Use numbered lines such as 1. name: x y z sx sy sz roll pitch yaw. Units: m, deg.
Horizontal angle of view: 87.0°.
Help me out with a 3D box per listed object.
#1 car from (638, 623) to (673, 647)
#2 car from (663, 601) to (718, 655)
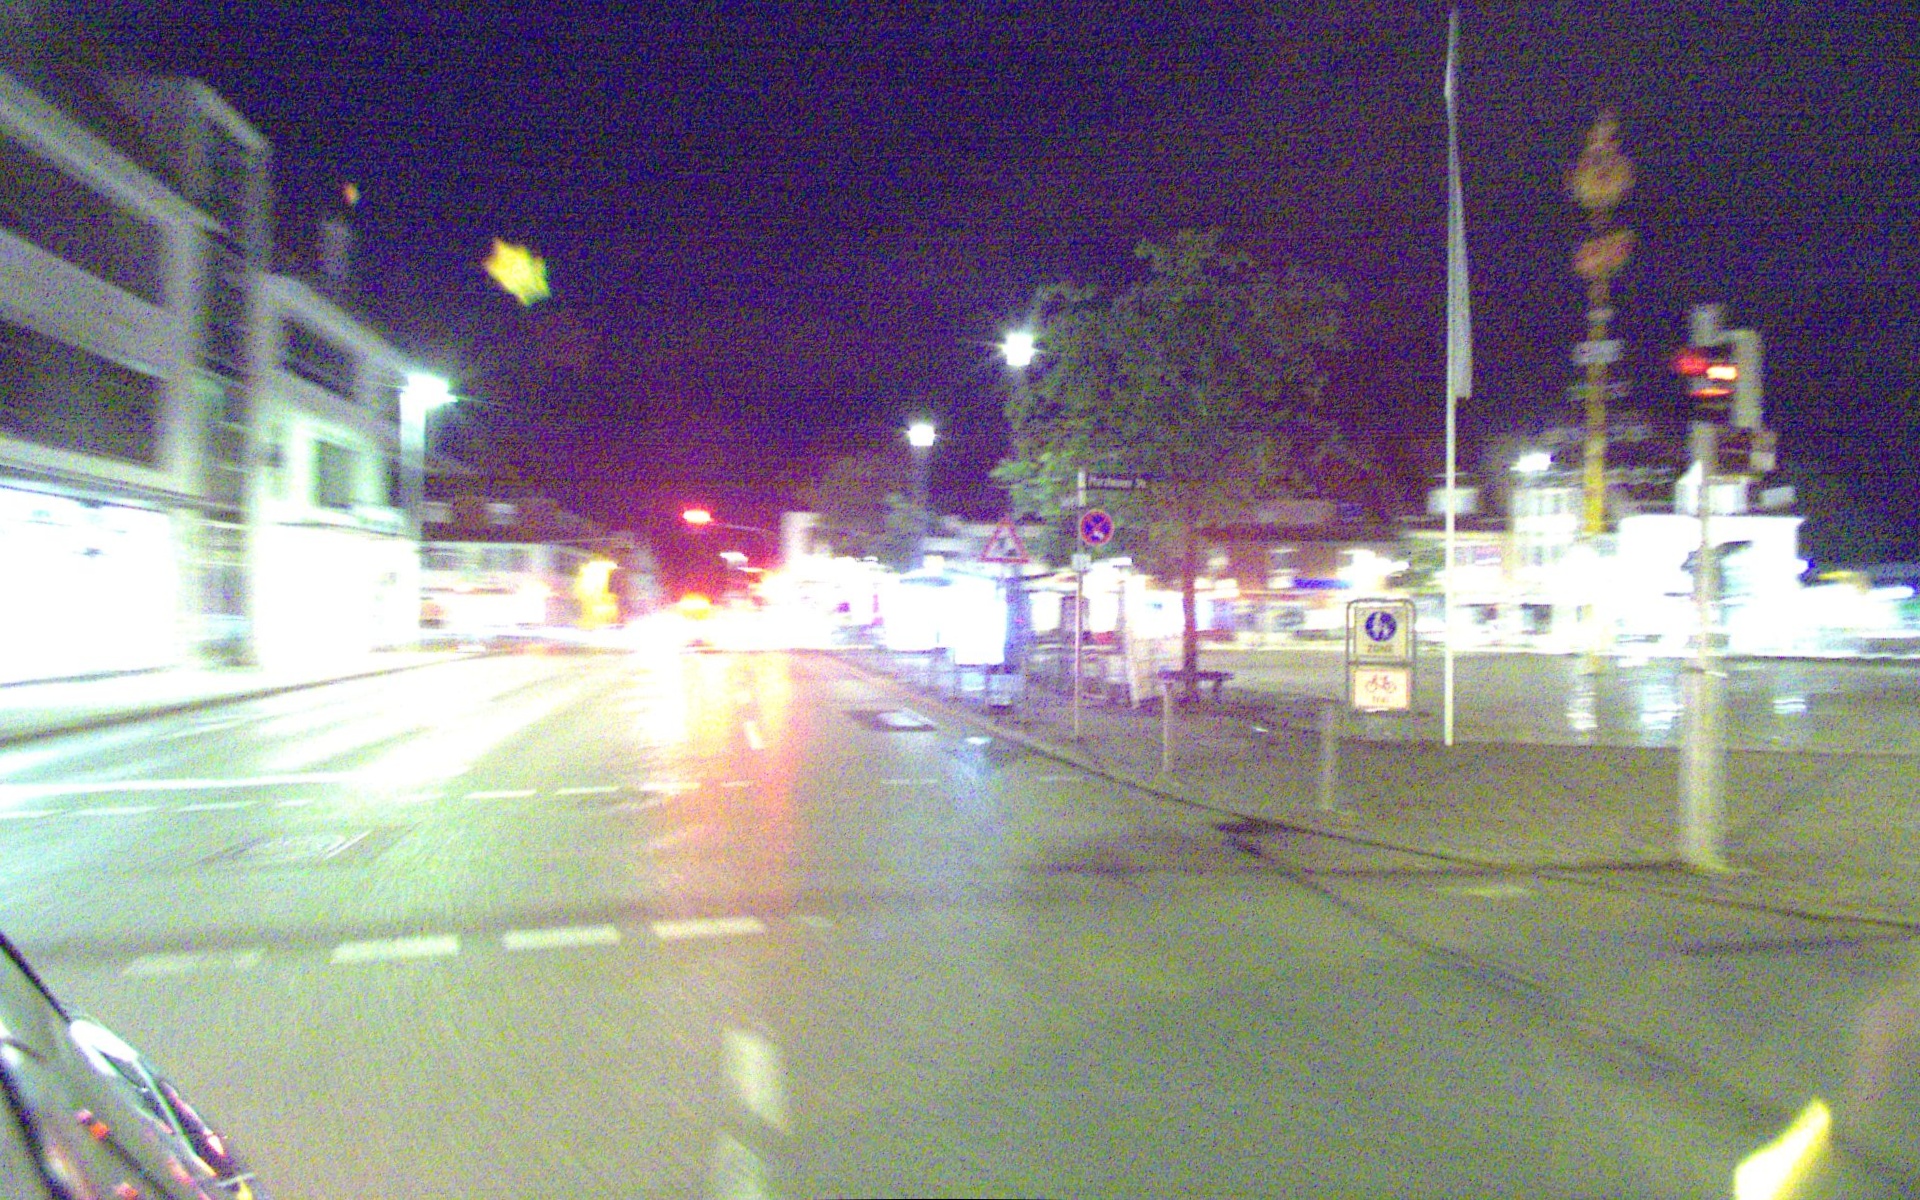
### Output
1. car: -21.851 2.483 72.770 1.968 1.583 4.008 -1 -1 -10
2. car: -10.633 1.085 39.900 1.927 1.951 4.430 -1 -1 -15
